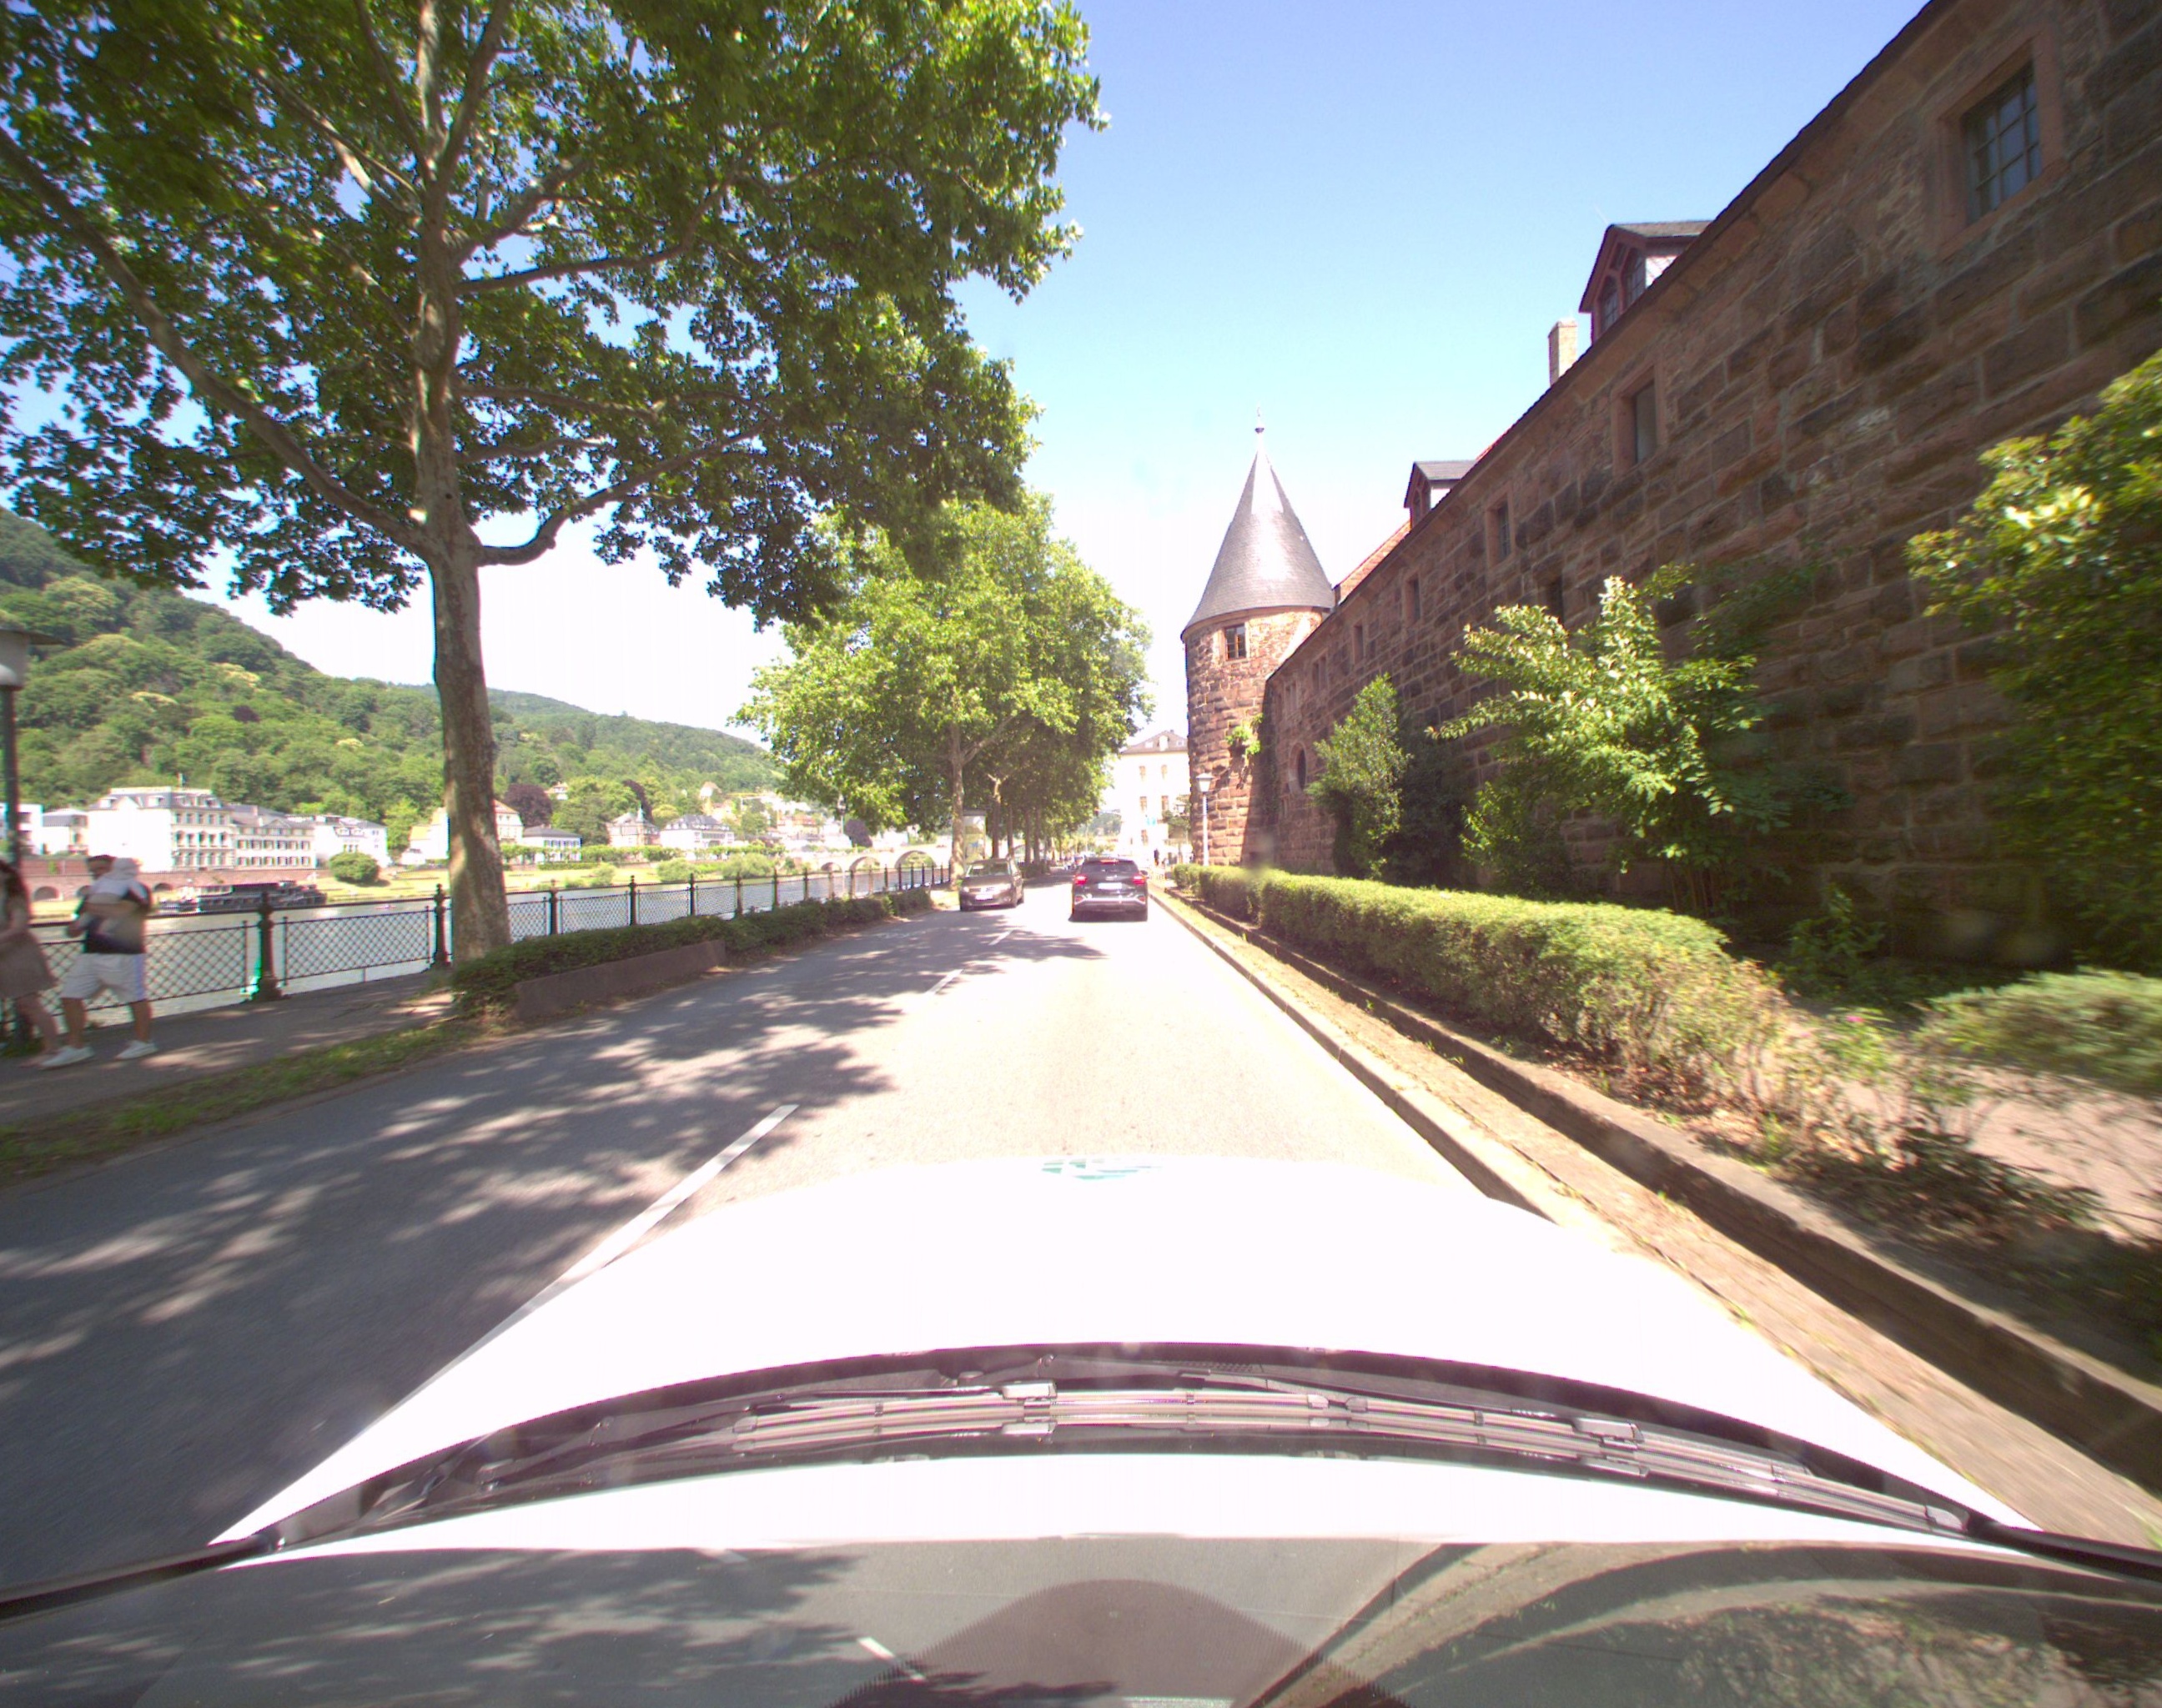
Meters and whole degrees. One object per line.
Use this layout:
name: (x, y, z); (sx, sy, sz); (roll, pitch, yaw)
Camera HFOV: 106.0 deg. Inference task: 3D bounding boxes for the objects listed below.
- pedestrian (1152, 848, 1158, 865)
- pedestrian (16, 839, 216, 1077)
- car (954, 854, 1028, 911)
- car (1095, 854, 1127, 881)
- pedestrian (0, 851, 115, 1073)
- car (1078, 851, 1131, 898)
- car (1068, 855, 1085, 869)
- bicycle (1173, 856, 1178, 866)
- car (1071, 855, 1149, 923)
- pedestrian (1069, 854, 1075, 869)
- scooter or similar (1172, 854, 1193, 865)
pedestrian: (7.144, 0.252, 79.085); (0.555, 1.633, 0.660); (0, -1, 2)
pedestrian: (-8.116, 0.830, 6.889); (0.638, 1.870, 0.806); (-3, 0, 2)
car: (-2.875, 0.860, 26.766); (1.757, 1.647, 4.091); (-3, 0, 2)
car: (1.806, 0.775, 49.127); (1.794, 1.523, 3.717); (-2, 0, 2)
pedestrian: (-8.736, 0.869, 6.813); (0.515, 1.768, 0.592); (-3, 0, 2)
car: (0.883, 0.738, 30.494); (1.794, 1.562, 3.717); (-3, 0, 2)
car: (-0.482, 0.893, 94.795); (1.608, 1.523, 3.479); (-3, 0, 3)
bicycle: (9.558, 0.678, 82.504); (0.449, 0.975, 1.400); (0, 0, 2)
car: (0.672, 0.785, 19.989); (1.742, 1.494, 3.629); (0, 0, 1)
pedestrian: (-0.946, 0.836, 88.373); (0.516, 1.638, 0.438); (-3, 0, -6)
scooter or similar: (8.924, 0.501, 71.516); (1.838, 0.963, 0.429); (0, -1, 0)
